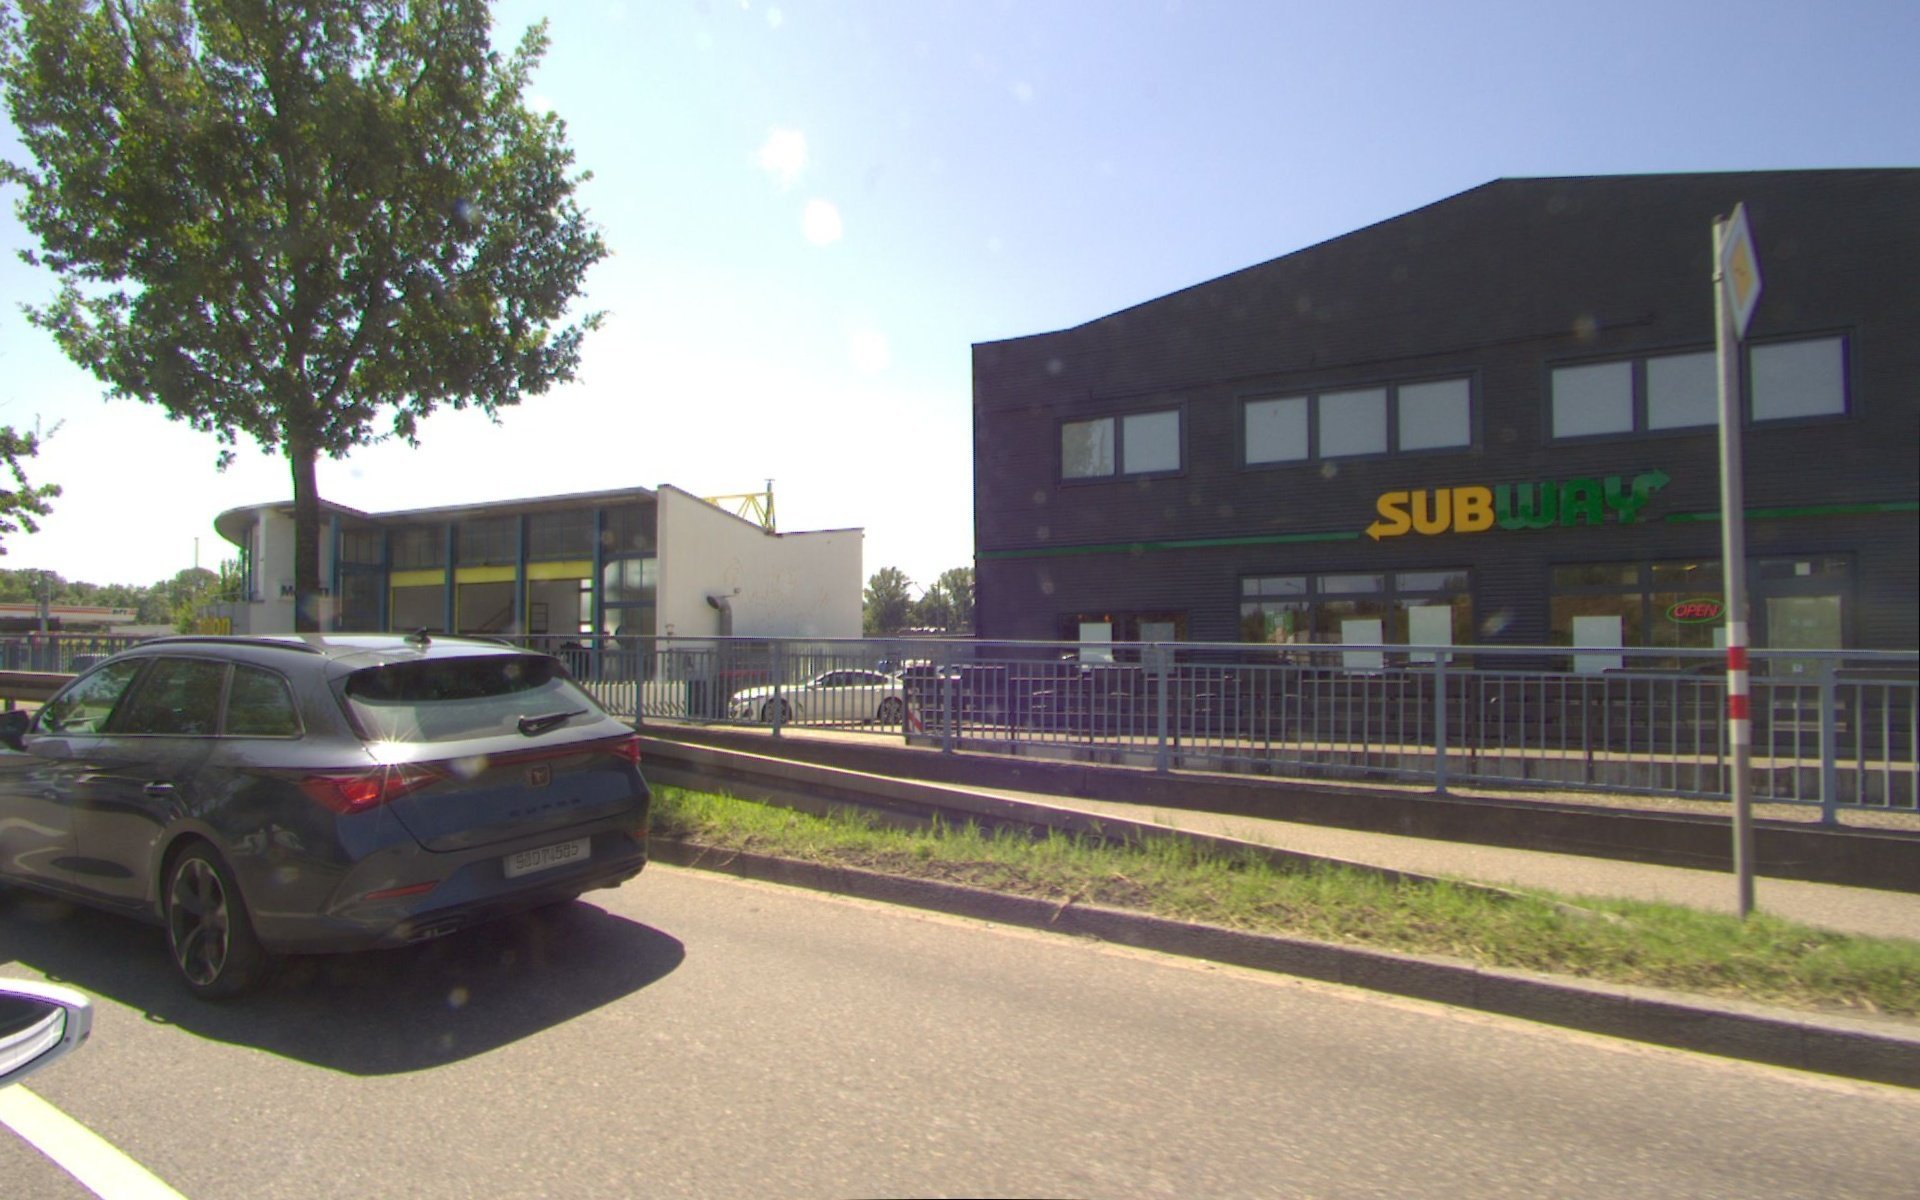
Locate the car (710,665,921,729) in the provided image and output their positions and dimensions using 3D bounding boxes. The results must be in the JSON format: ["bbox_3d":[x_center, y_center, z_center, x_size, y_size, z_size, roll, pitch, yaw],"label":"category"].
[{"bbox_3d":[-3.667,2.415,25.536,5.003,1.375,1.993,1,-2,-25],"label":"car"}]

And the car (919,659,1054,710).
[{"bbox_3d":[0.913,2.831,33.978,4.330,1.578,1.650,1,-2,-25],"label":"car"}]

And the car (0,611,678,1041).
[{"bbox_3d":[-3.565,0.845,5.181,4.171,1.474,1.603,-1,-2,30],"label":"car"}]

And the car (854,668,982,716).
[{"bbox_3d":[-1.259,2.701,29.631,3.549,1.269,1.478,0,-2,-17],"label":"car"}]

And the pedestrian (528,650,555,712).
[{"bbox_3d":[-11.951,2.301,28.586,0.480,1.724,0.521,-1,-1,27],"label":"pedestrian"}]

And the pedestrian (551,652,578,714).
[{"bbox_3d":[-11.152,2.321,28.225,0.580,1.724,0.426,-1,-1,26],"label":"pedestrian"}]
